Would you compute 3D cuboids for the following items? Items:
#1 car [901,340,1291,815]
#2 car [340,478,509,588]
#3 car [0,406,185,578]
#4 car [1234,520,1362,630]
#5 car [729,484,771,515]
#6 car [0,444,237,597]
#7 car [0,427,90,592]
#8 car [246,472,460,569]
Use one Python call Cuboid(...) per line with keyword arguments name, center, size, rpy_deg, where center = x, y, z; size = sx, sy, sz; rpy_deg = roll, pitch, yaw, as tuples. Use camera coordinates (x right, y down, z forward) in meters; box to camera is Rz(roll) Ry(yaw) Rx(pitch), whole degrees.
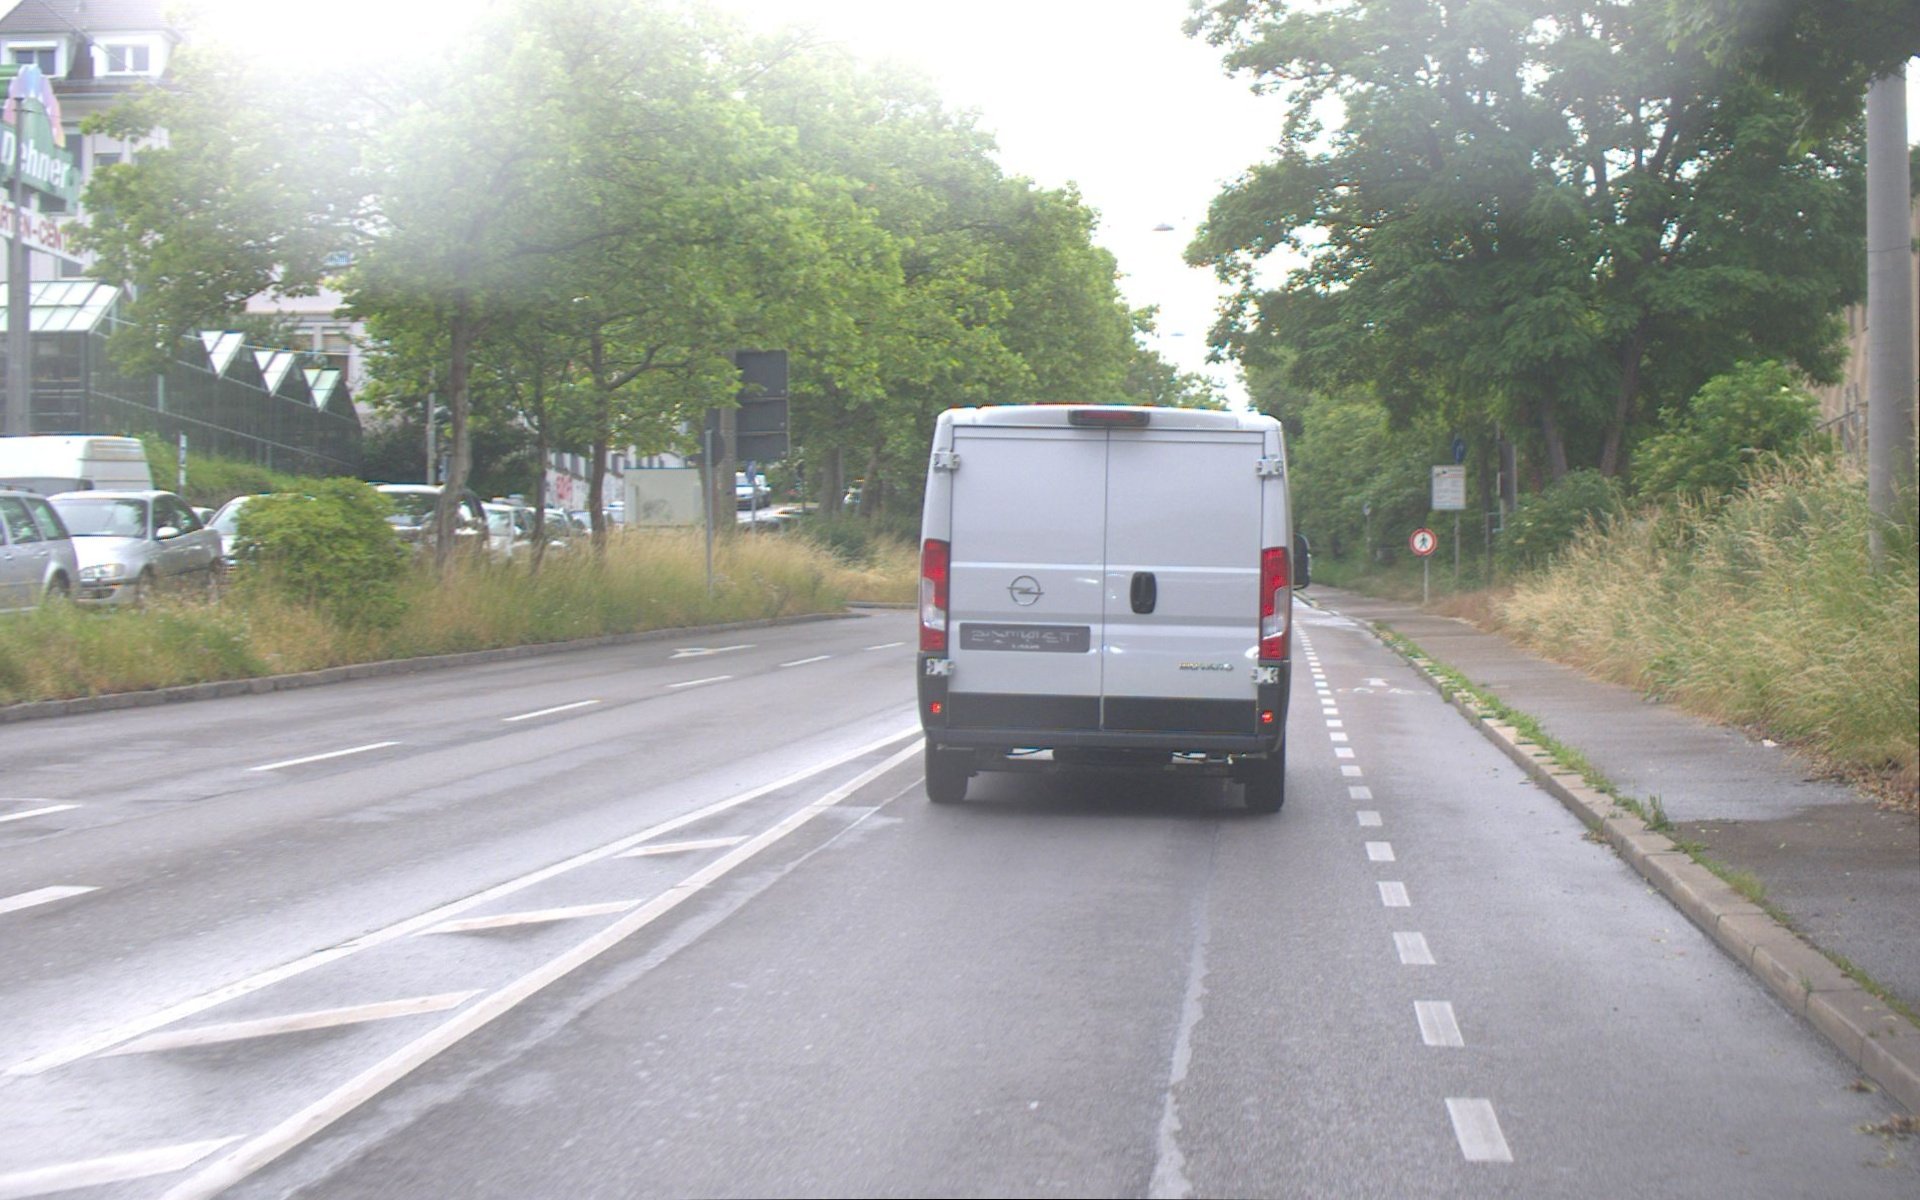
Cuboid(name="car", center=(0.816, -0.199, 20.779), size=(2.050, 2.508, 4.943), rpy_deg=(1, 2, 2))
Cuboid(name="car", center=(-7.703, -0.944, 49.751), size=(1.653, 1.447, 3.645), rpy_deg=(0, -1, 4))
Cuboid(name="car", center=(-13.300, -1.618, 51.553), size=(1.963, 2.435, 5.656), rpy_deg=(0, 2, 1))
Cuboid(name="car", center=(4.769, -0.327, 48.470), size=(1.694, 1.421, 3.367), rpy_deg=(1, -1, 6))
Cuboid(name="car", center=(-9.279, -4.444, 151.883), size=(1.599, 1.246, 2.910), rpy_deg=(0, -1, 1))
Cuboid(name="car", center=(-9.037, -0.867, 36.646), size=(1.592, 1.535, 3.992), rpy_deg=(0, 2, 3))
Cuboid(name="car", center=(-9.347, -0.808, 30.814), size=(1.647, 1.473, 4.443), rpy_deg=(0, 2, 5))
Cuboid(name="car", center=(-7.847, -1.032, 44.815), size=(1.698, 1.201, 4.218), rpy_deg=(0, 1, 5))
